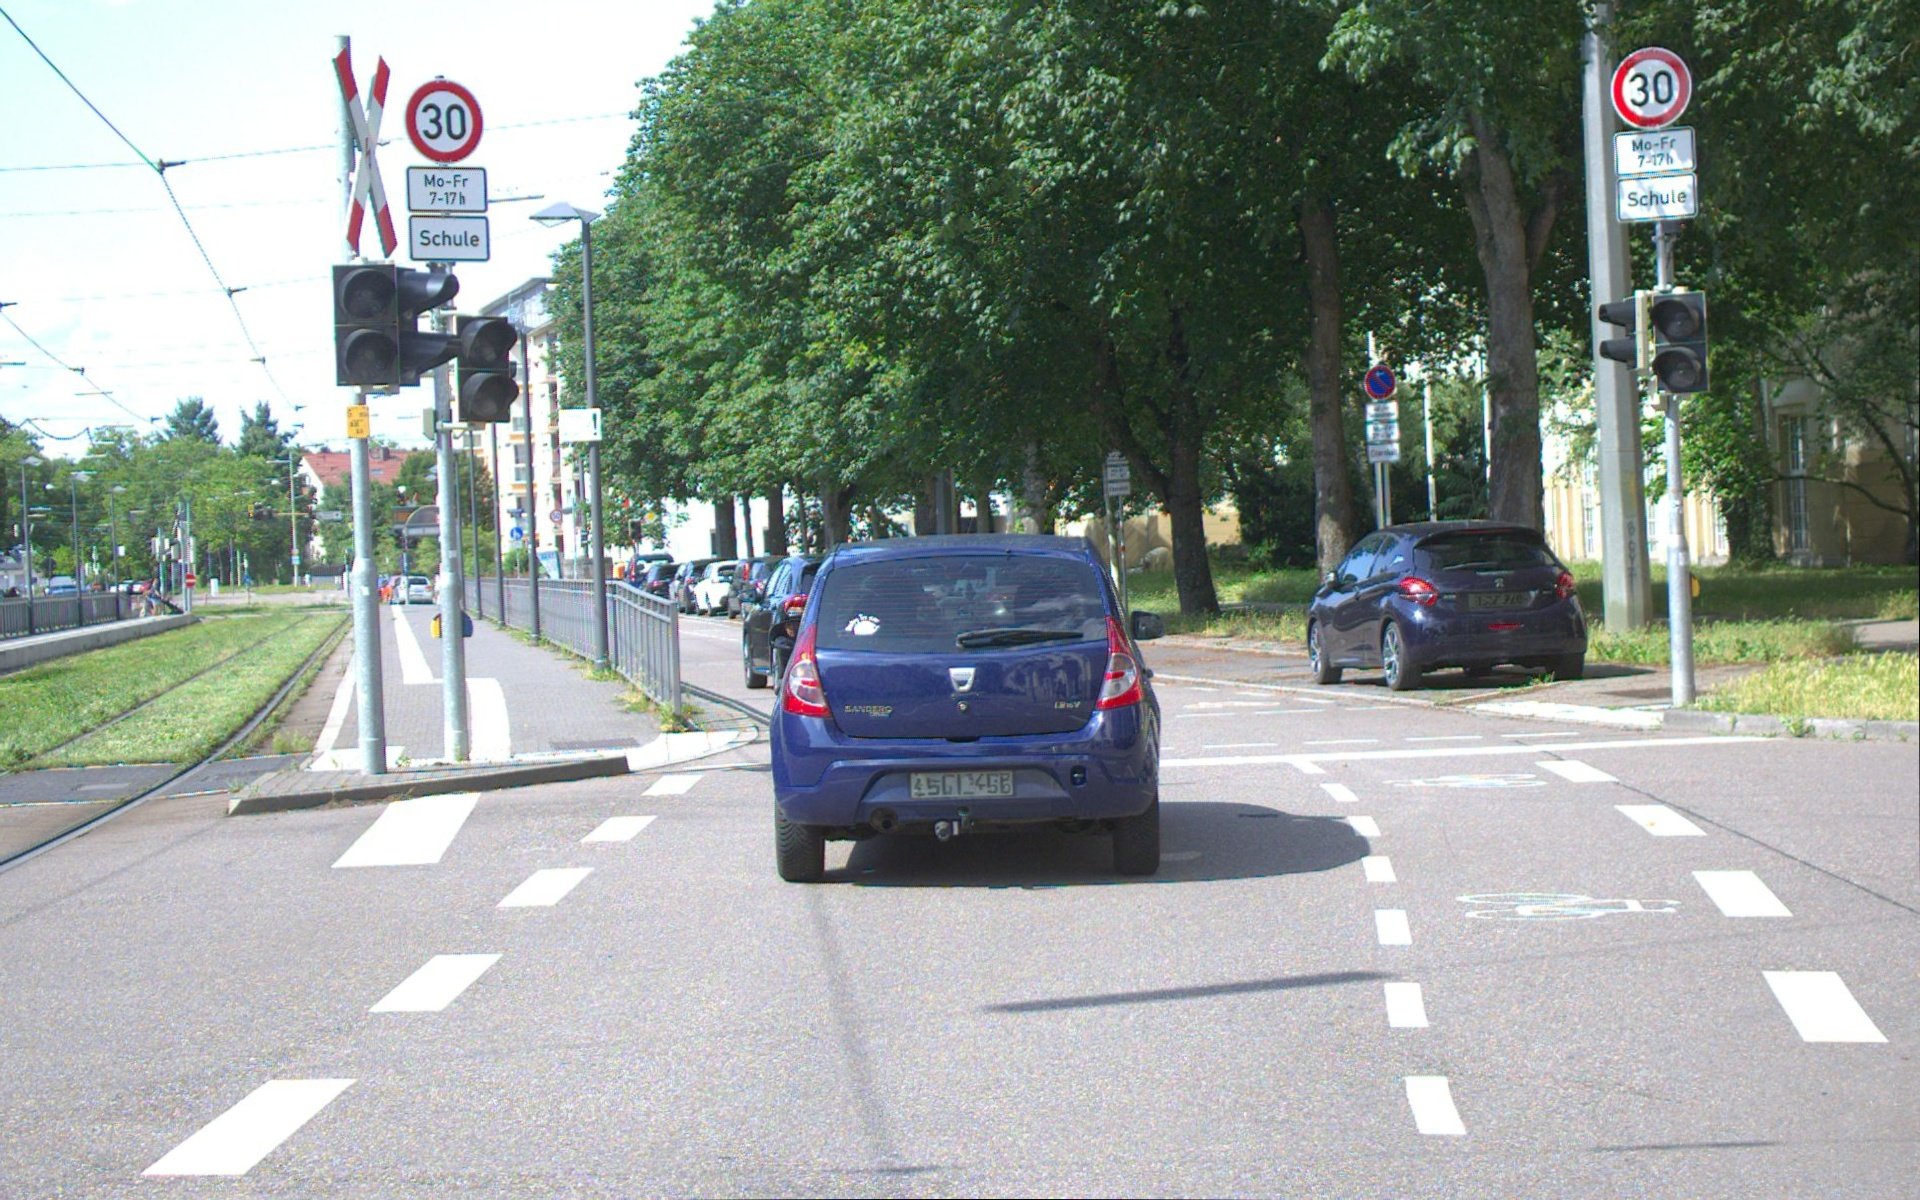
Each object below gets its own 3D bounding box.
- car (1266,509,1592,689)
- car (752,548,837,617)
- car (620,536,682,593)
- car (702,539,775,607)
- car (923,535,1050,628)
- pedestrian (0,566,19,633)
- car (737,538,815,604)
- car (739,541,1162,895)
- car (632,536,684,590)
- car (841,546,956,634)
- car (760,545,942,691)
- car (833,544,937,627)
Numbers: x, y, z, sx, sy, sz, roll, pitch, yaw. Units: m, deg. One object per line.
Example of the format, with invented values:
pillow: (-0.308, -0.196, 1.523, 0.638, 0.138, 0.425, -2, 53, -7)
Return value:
car: (4.157, -0.030, 31.099, 1.765, 1.428, 3.905, -3, 1, -10)
car: (-3.900, -0.433, 80.493, 1.861, 1.440, 4.001, -4, 1, -3)
car: (-10.118, -1.181, 112.911, 1.830, 1.755, 4.001, -2, 1, -3)
car: (-6.075, -0.741, 93.973, 1.617, 1.744, 4.001, -2, 1, -8)
car: (0.434, -0.344, 60.252, 1.861, 1.440, 4.001, -4, 1, -3)
pedestrian: (-21.150, 0.012, 75.015, 1.028, 1.433, 0.703, -4, 2, -23)
car: (-4.611, -0.742, 85.913, 1.828, 1.532, 4.001, -3, 1, -3)
car: (-0.036, 0.465, 16.324, 1.768, 1.457, 3.776, 0, 1, 0)
car: (-10.444, -1.279, 119.020, 1.667, 1.766, 4.001, -2, 1, -5)
car: (-1.172, -0.204, 63.436, 1.861, 1.440, 4.001, -4, 1, -3)
car: (-1.172, 0.149, 35.635, 1.699, 1.363, 3.515, -1, 2, -4)
car: (-1.511, -0.308, 68.062, 1.851, 1.510, 4.001, -2, 1, -3)
